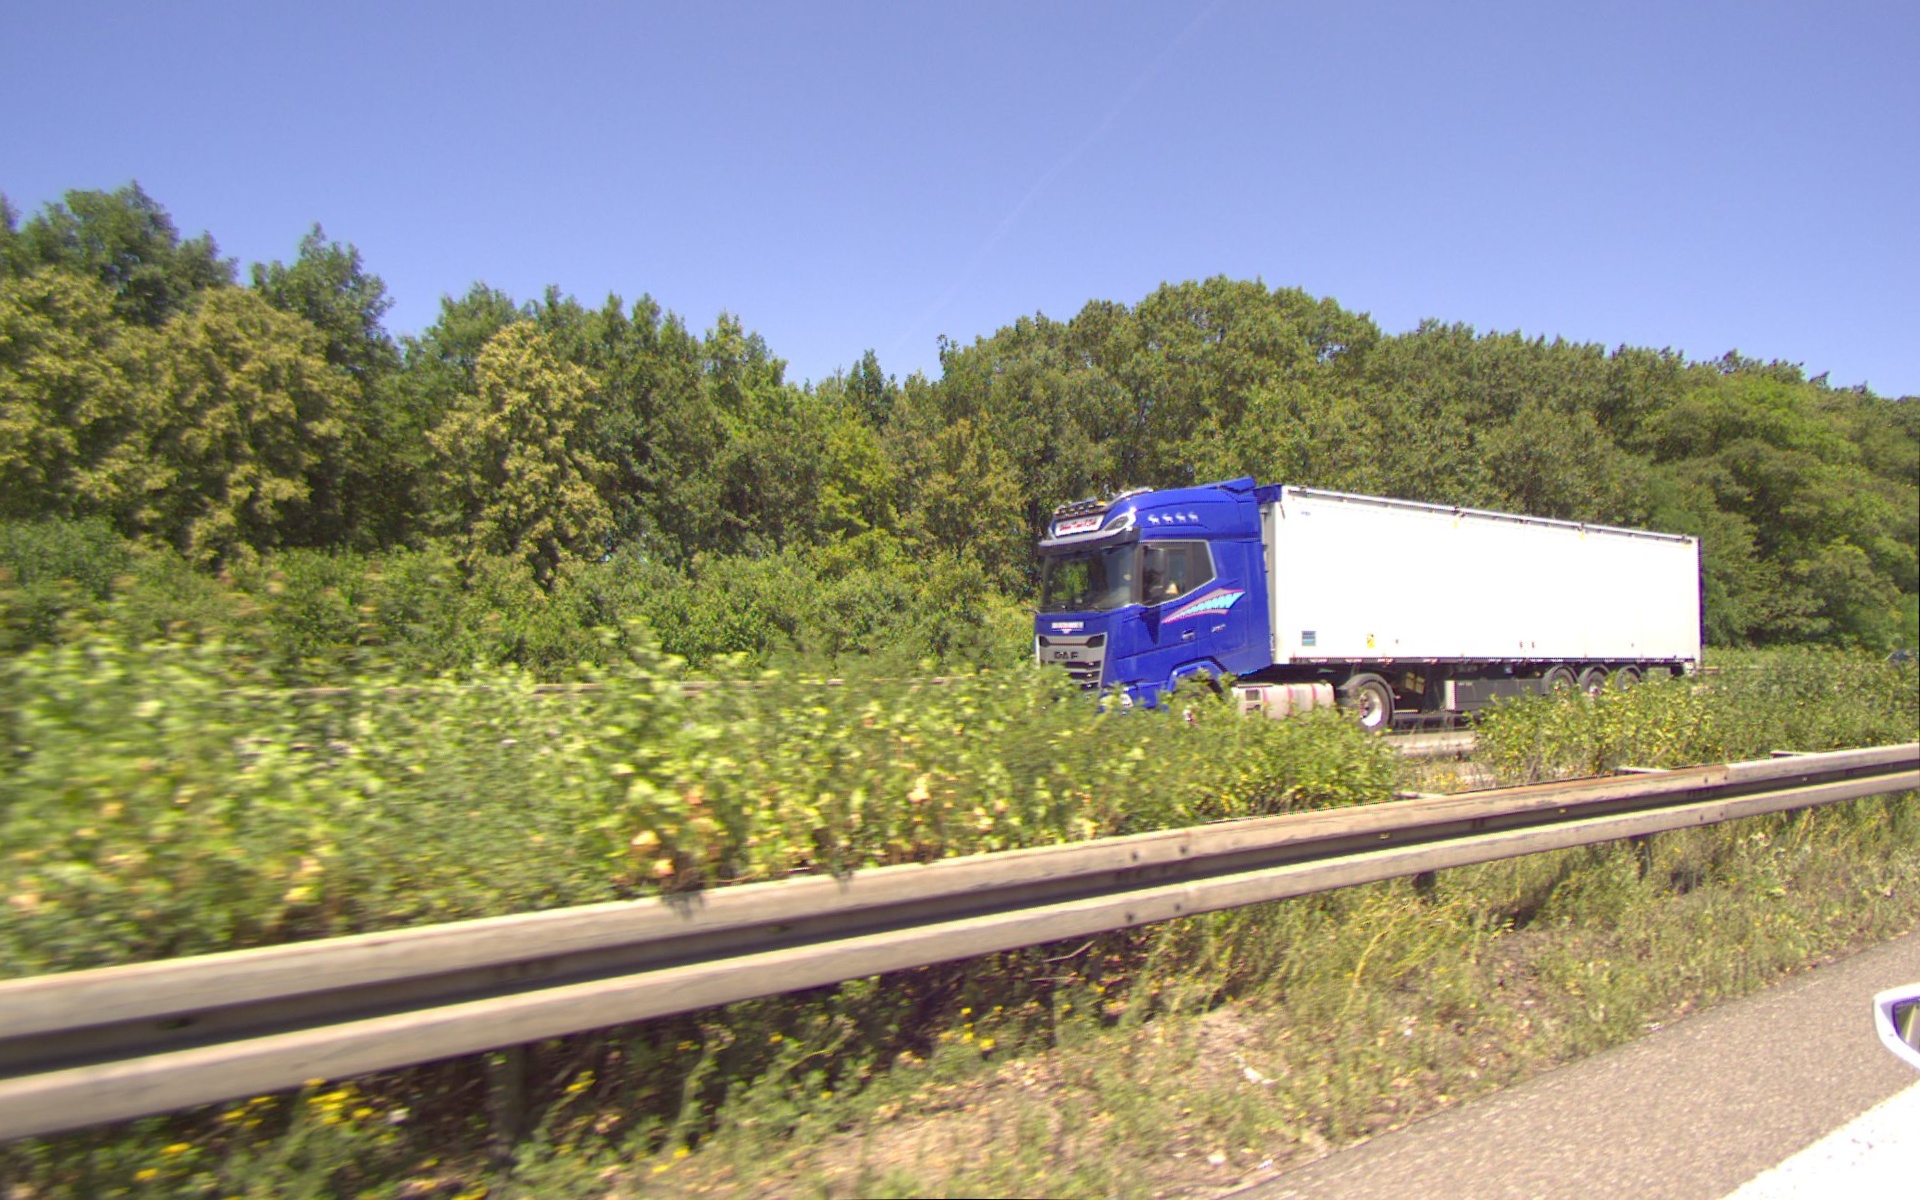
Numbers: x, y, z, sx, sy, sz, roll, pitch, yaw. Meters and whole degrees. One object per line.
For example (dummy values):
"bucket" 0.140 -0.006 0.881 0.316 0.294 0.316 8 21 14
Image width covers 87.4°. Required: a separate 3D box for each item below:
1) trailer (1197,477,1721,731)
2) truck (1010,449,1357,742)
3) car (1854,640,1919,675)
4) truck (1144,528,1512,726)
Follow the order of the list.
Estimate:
"trailer" 10.840 0.228 20.687 13.359 4.062 2.856 1 -1 -31
"truck" 3.665 0.005 16.445 4.941 4.062 2.857 1 -1 -30
"car" 39.152 2.384 41.804 3.953 1.356 1.786 1 -1 -30
"truck" 9.354 0.691 24.905 9.883 4.168 2.999 1 -1 -30
